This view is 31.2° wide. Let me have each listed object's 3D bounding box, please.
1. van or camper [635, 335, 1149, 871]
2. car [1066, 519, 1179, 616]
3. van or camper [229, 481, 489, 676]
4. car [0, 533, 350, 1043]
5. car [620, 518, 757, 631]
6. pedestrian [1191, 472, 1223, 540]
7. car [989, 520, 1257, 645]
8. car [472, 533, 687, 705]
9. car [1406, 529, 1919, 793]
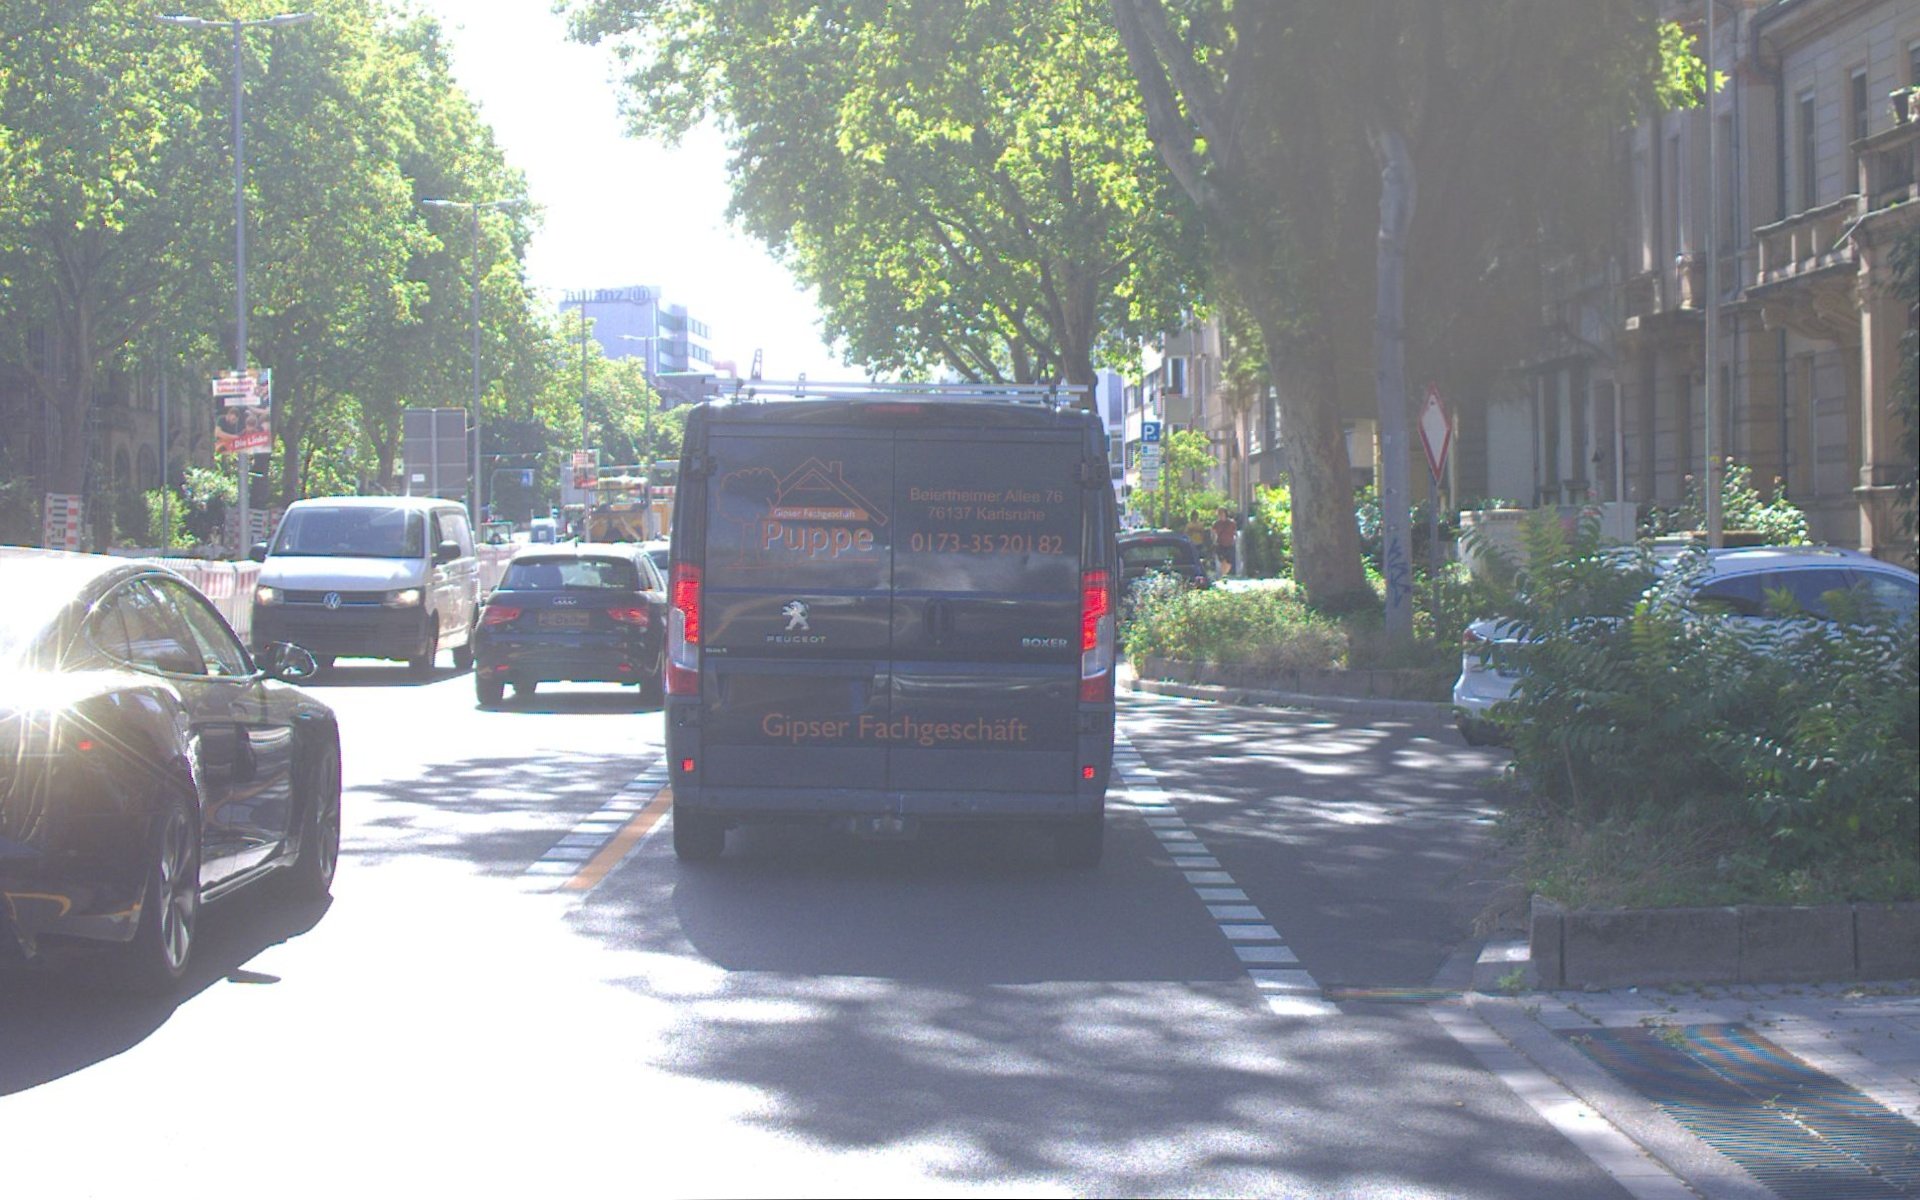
[{"bbox_3d":[-0.380,-0.036,17.292,2.245,2.338,4.538,0,1,-2],"label":"van or camper"},{"bbox_3d":[2.740,-0.577,58.608,1.773,1.563,4.000,-1,1,1],"label":"car"},{"bbox_3d":[-6.563,-0.276,38.135,1.993,2.007,5.329,0,1,-1],"label":"van or camper"},{"bbox_3d":[-3.456,0.505,12.232,1.837,1.478,4.476,0,1,-1],"label":"car"},{"bbox_3d":[-3.663,-0.373,46.833,1.619,1.481,3.734,0,1,-1],"label":"car"},{"bbox_3d":[8.665,-3.288,120.551,1.058,2.337,0.816,1,1,2],"label":"pedestrian"},{"bbox_3d":[2.120,-0.256,45.817,1.772,1.563,4.001,1,1,-28],"label":"car"},{"bbox_3d":[-3.447,0.129,31.660,1.619,1.481,3.734,0,1,-1],"label":"car"},{"bbox_3d":[4.810,0.344,21.320,4.045,1.481,1.839,0,-1,-42],"label":"car"}]
